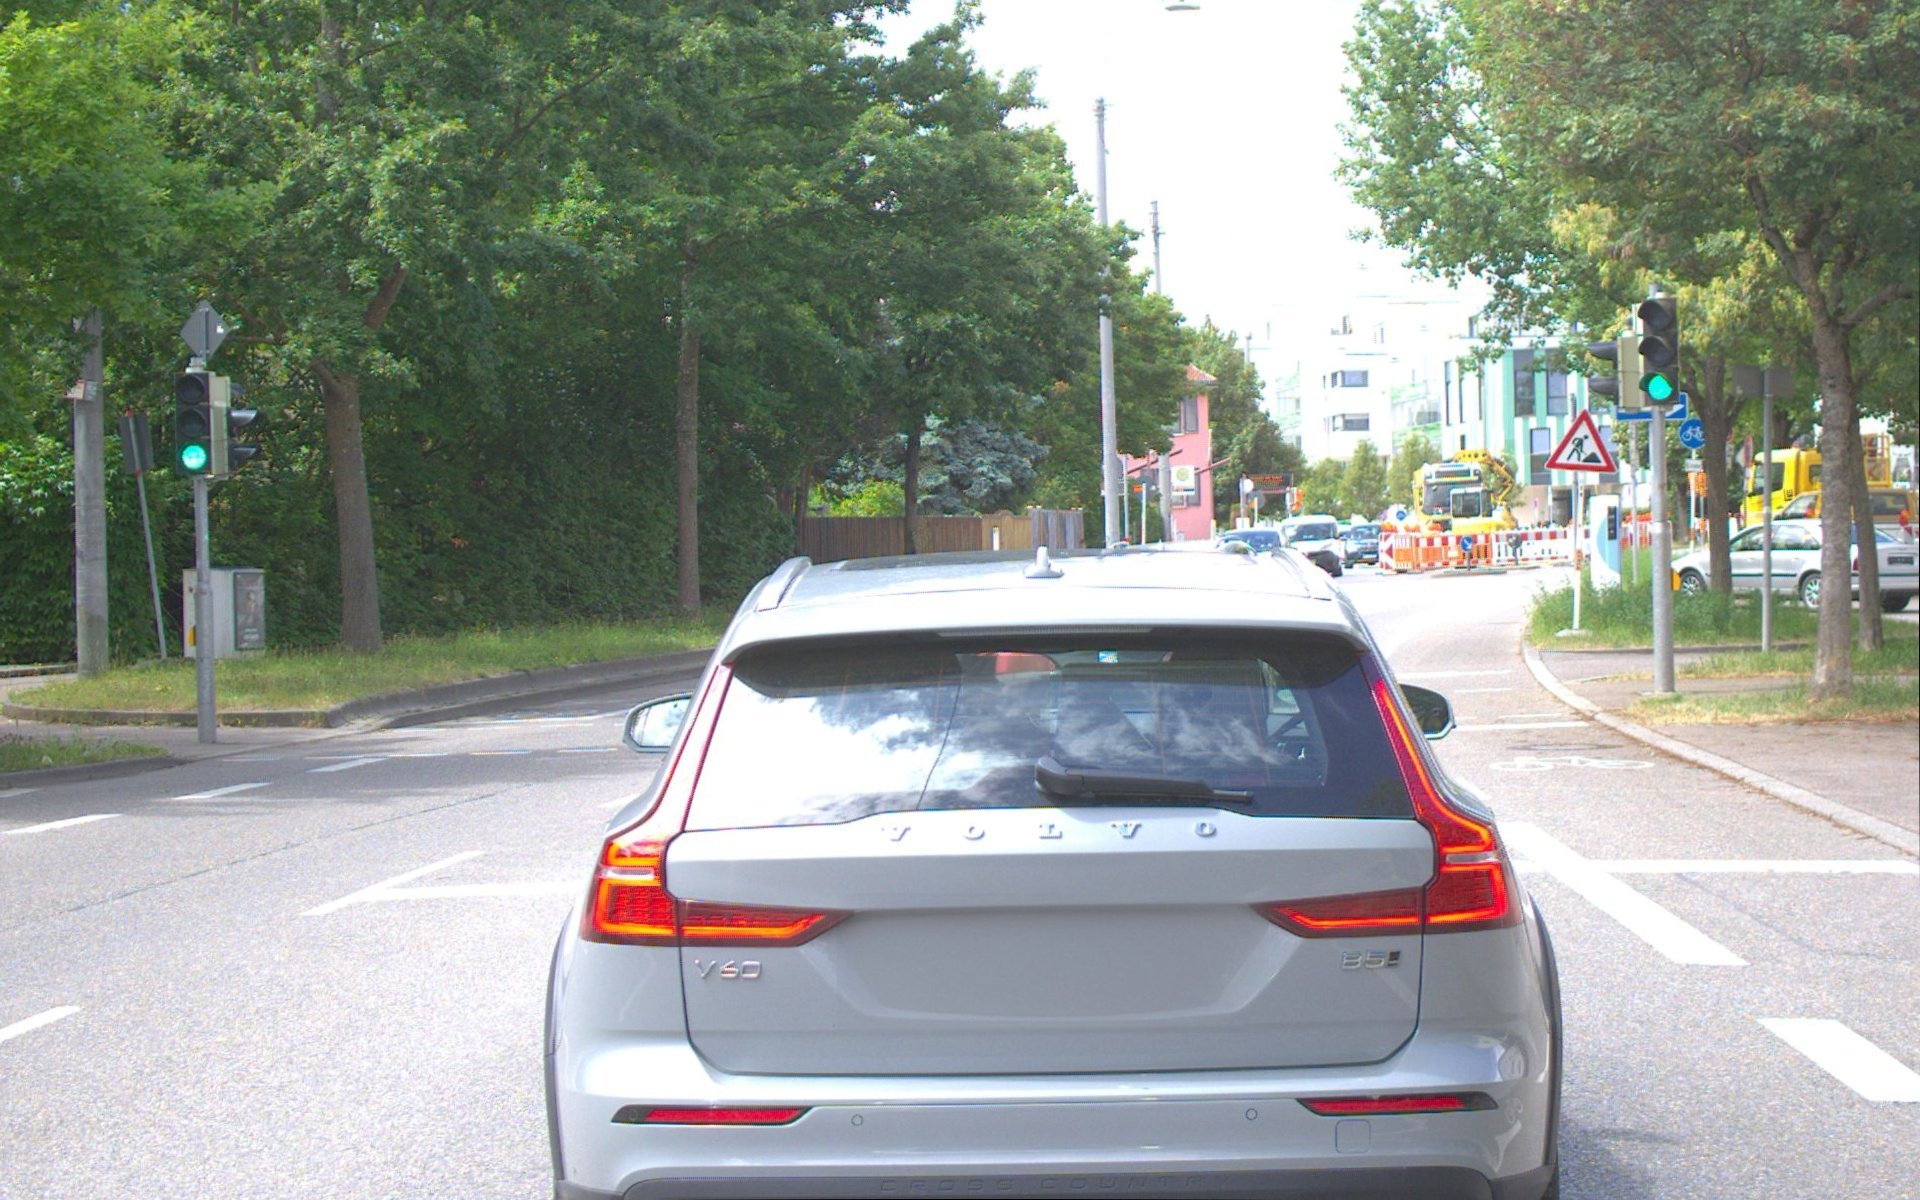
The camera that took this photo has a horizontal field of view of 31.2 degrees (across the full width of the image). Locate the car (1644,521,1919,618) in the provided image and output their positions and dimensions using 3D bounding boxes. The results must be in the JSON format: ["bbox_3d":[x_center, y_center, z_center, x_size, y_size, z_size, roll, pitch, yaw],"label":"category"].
[{"bbox_3d":[13.079,-0.503,54.171,1.762,1.447,4.689,-1,2,-32],"label":"car"}]

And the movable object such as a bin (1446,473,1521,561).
[{"bbox_3d":[16.631,-2.637,109.118,2.035,2.634,5.937,-2,1,11],"label":"movable object such as a bin"}]

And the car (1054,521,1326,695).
[{"bbox_3d":[2.253,0.060,32.637,2.103,1.505,3.998,1,0,10],"label":"car"}]

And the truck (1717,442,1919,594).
[{"bbox_3d":[19.027,-1.638,70.518,2.761,2.998,6.706,1,0,-34],"label":"truck"}]

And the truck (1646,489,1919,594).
[{"bbox_3d":[16.606,-1.170,68.792,1.994,2.007,5.676,1,0,-39],"label":"truck"}]

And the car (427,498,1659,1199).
[{"bbox_3d":[0.170,0.577,7.433,1.928,1.535,4.000,-1,2,1],"label":"car"}]

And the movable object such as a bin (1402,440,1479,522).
[{"bbox_3d":[18.476,-4.547,132.412,2.310,2.980,6.426,-2,1,3],"label":"movable object such as a bin"}]

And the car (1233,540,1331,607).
[{"bbox_3d":[6.970,-0.545,74.179,1.829,1.325,3.998,1,-1,9],"label":"car"}]

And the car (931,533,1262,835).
[{"bbox_3d":[0.772,0.419,19.486,1.661,1.503,3.702,1,0,2],"label":"car"}]

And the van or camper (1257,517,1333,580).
[{"bbox_3d":[9.828,-1.524,100.594,1.861,1.770,4.379,-1,1,10],"label":"van or camper"}]

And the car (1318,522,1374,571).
[{"bbox_3d":[14.222,-1.975,126.876,1.994,1.731,3.999,1,0,6],"label":"car"}]
